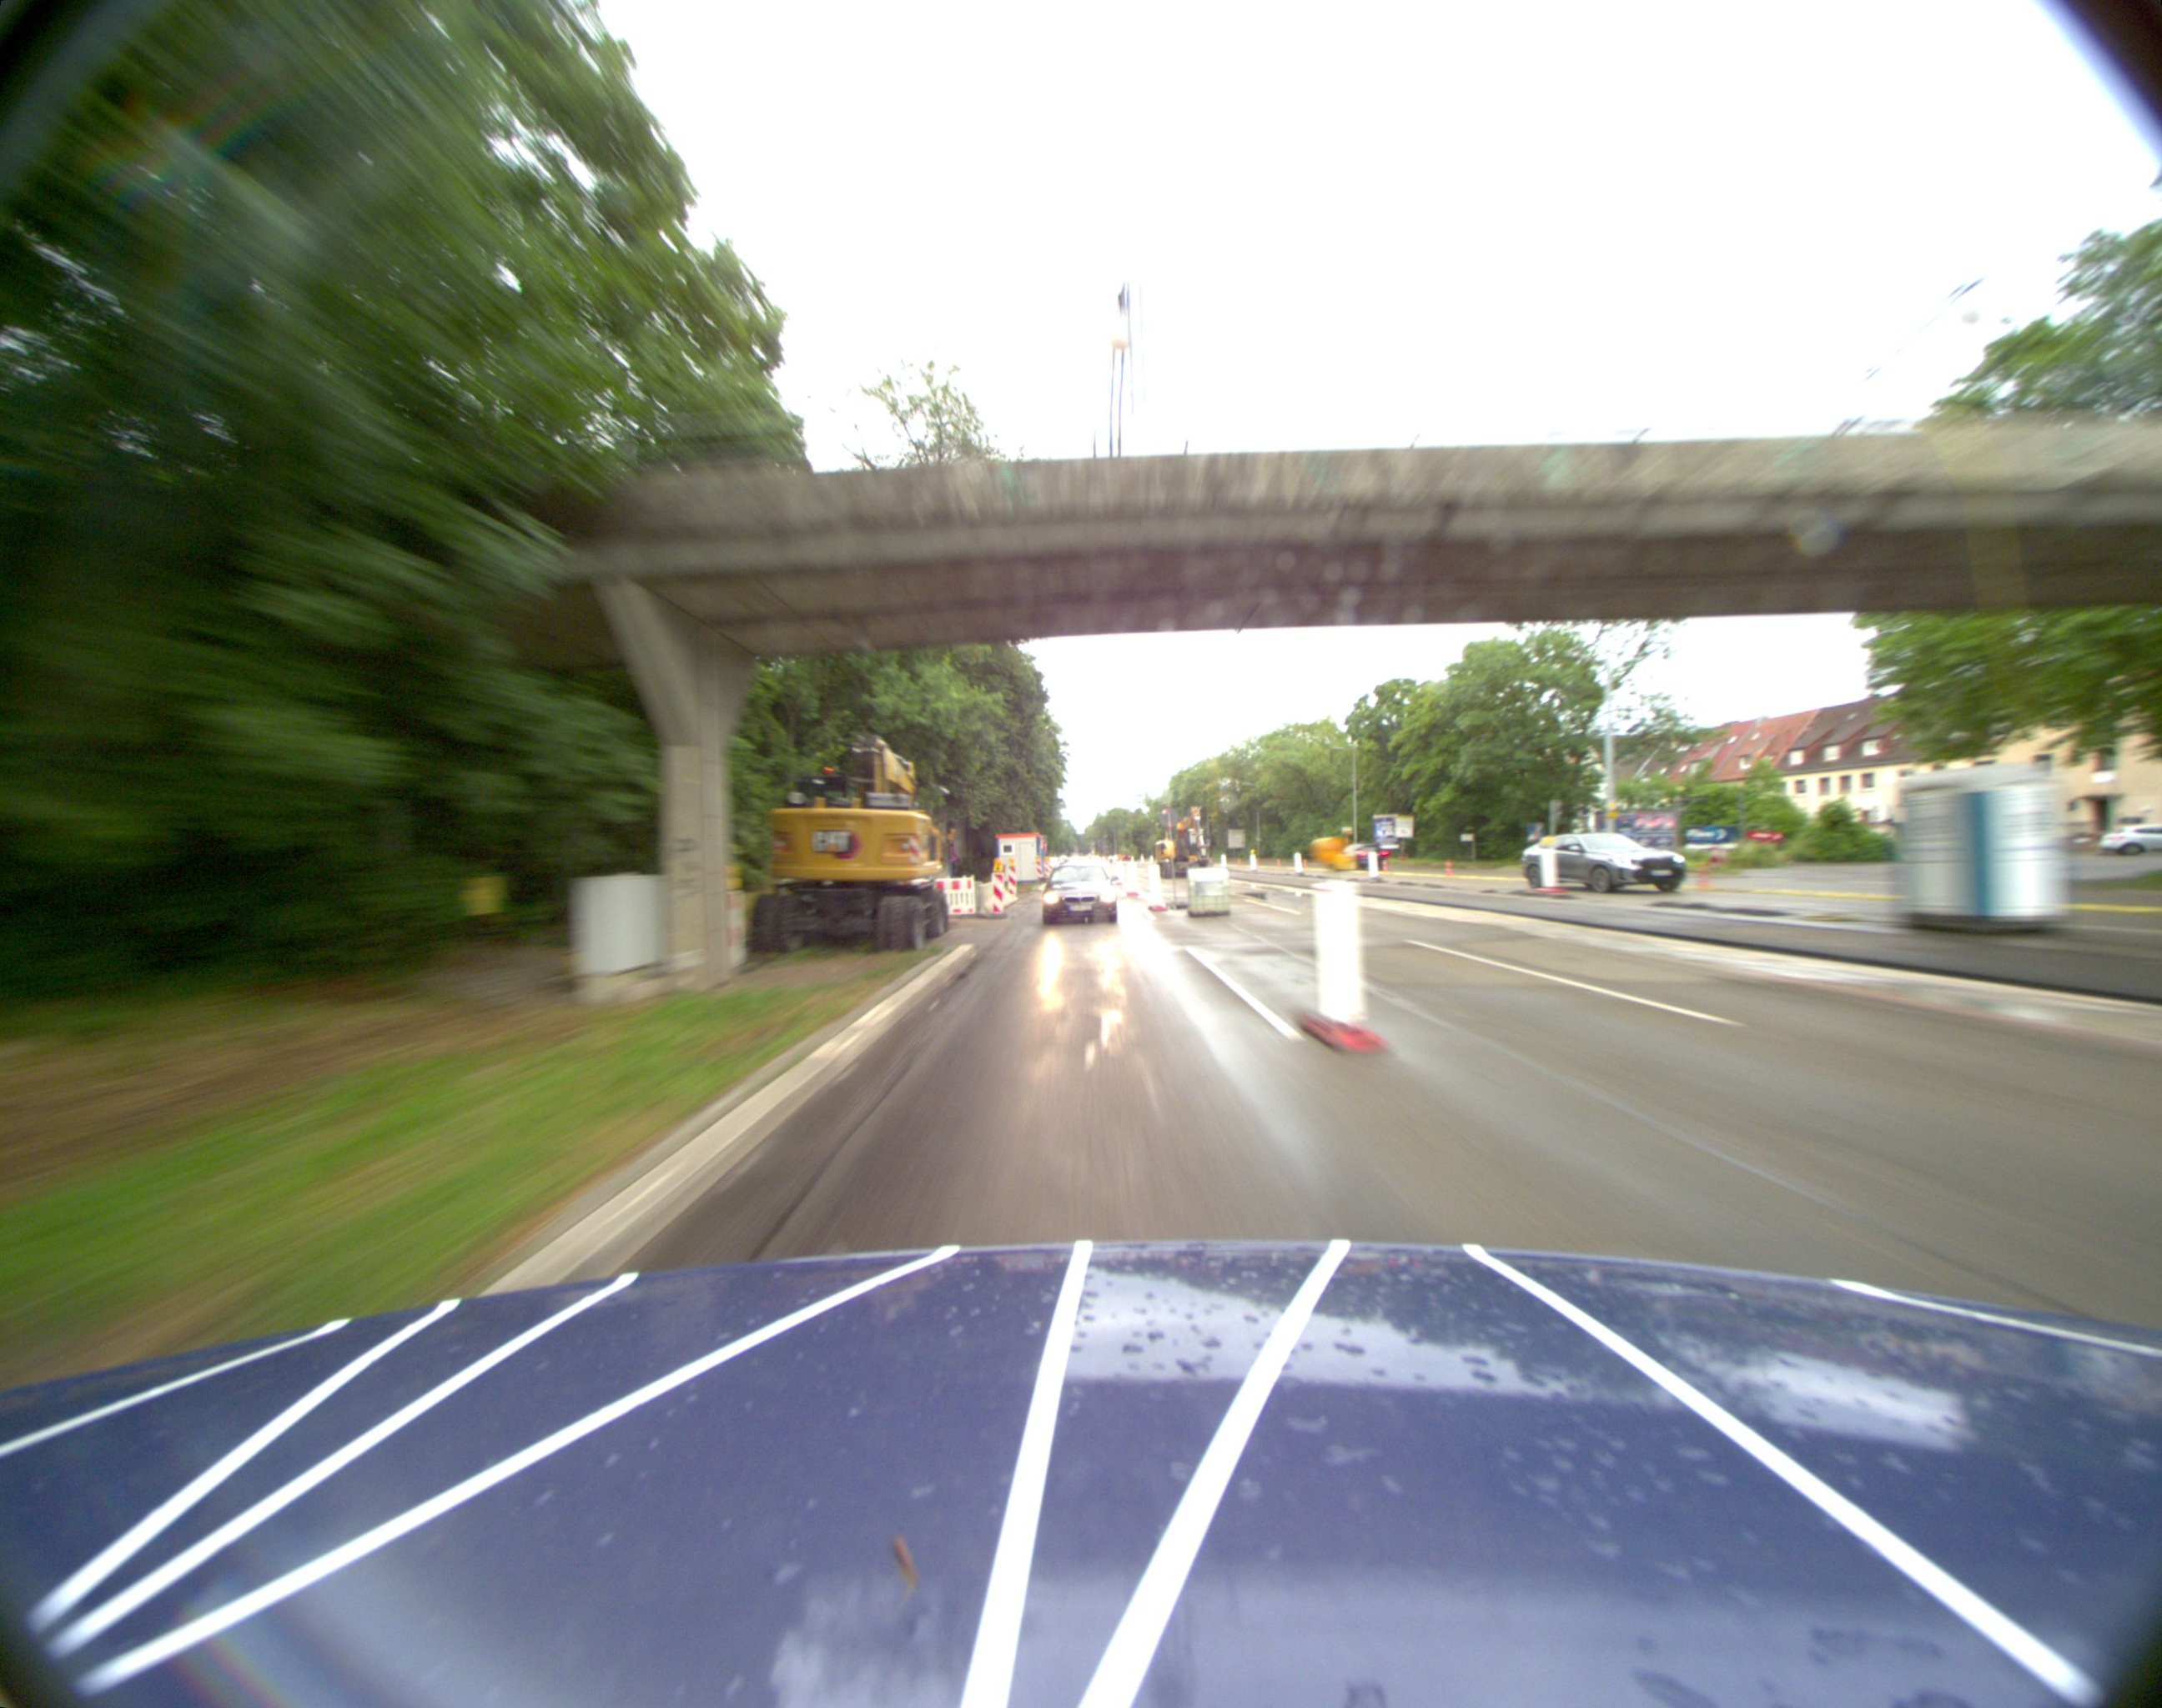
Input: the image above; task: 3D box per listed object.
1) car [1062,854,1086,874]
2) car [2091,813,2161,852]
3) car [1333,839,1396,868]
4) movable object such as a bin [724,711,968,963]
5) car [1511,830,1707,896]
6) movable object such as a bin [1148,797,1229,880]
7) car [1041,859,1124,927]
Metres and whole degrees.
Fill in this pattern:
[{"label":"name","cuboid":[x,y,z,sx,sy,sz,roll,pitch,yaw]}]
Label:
[{"label":"car","cuboid":[-0.607,0.872,69.263,1.998,1.650,4.229,-2,1,0]},{"label":"car","cuboid":[50.532,-1.017,35.345,2.003,1.740,4.213,-3,1,-38]},{"label":"car","cuboid":[18.556,-0.085,49.992,2.221,1.729,5.055,-2,1,0]},{"label":"movable object such as a bin","cuboid":[-4.207,-0.310,15.214,2.890,3.917,6.104,-2,1,-1]},{"label":"car","cuboid":[14.921,0.198,21.935,2.082,1.604,5.055,-2,1,0]},{"label":"movable object such as a bin","cuboid":[6.385,-0.914,47.161,3.526,4.495,10.068,-2,1,0]},{"label":"car","cuboid":[0.005,0.902,19.274,1.838,1.397,3.999,-2,1,-1]}]
